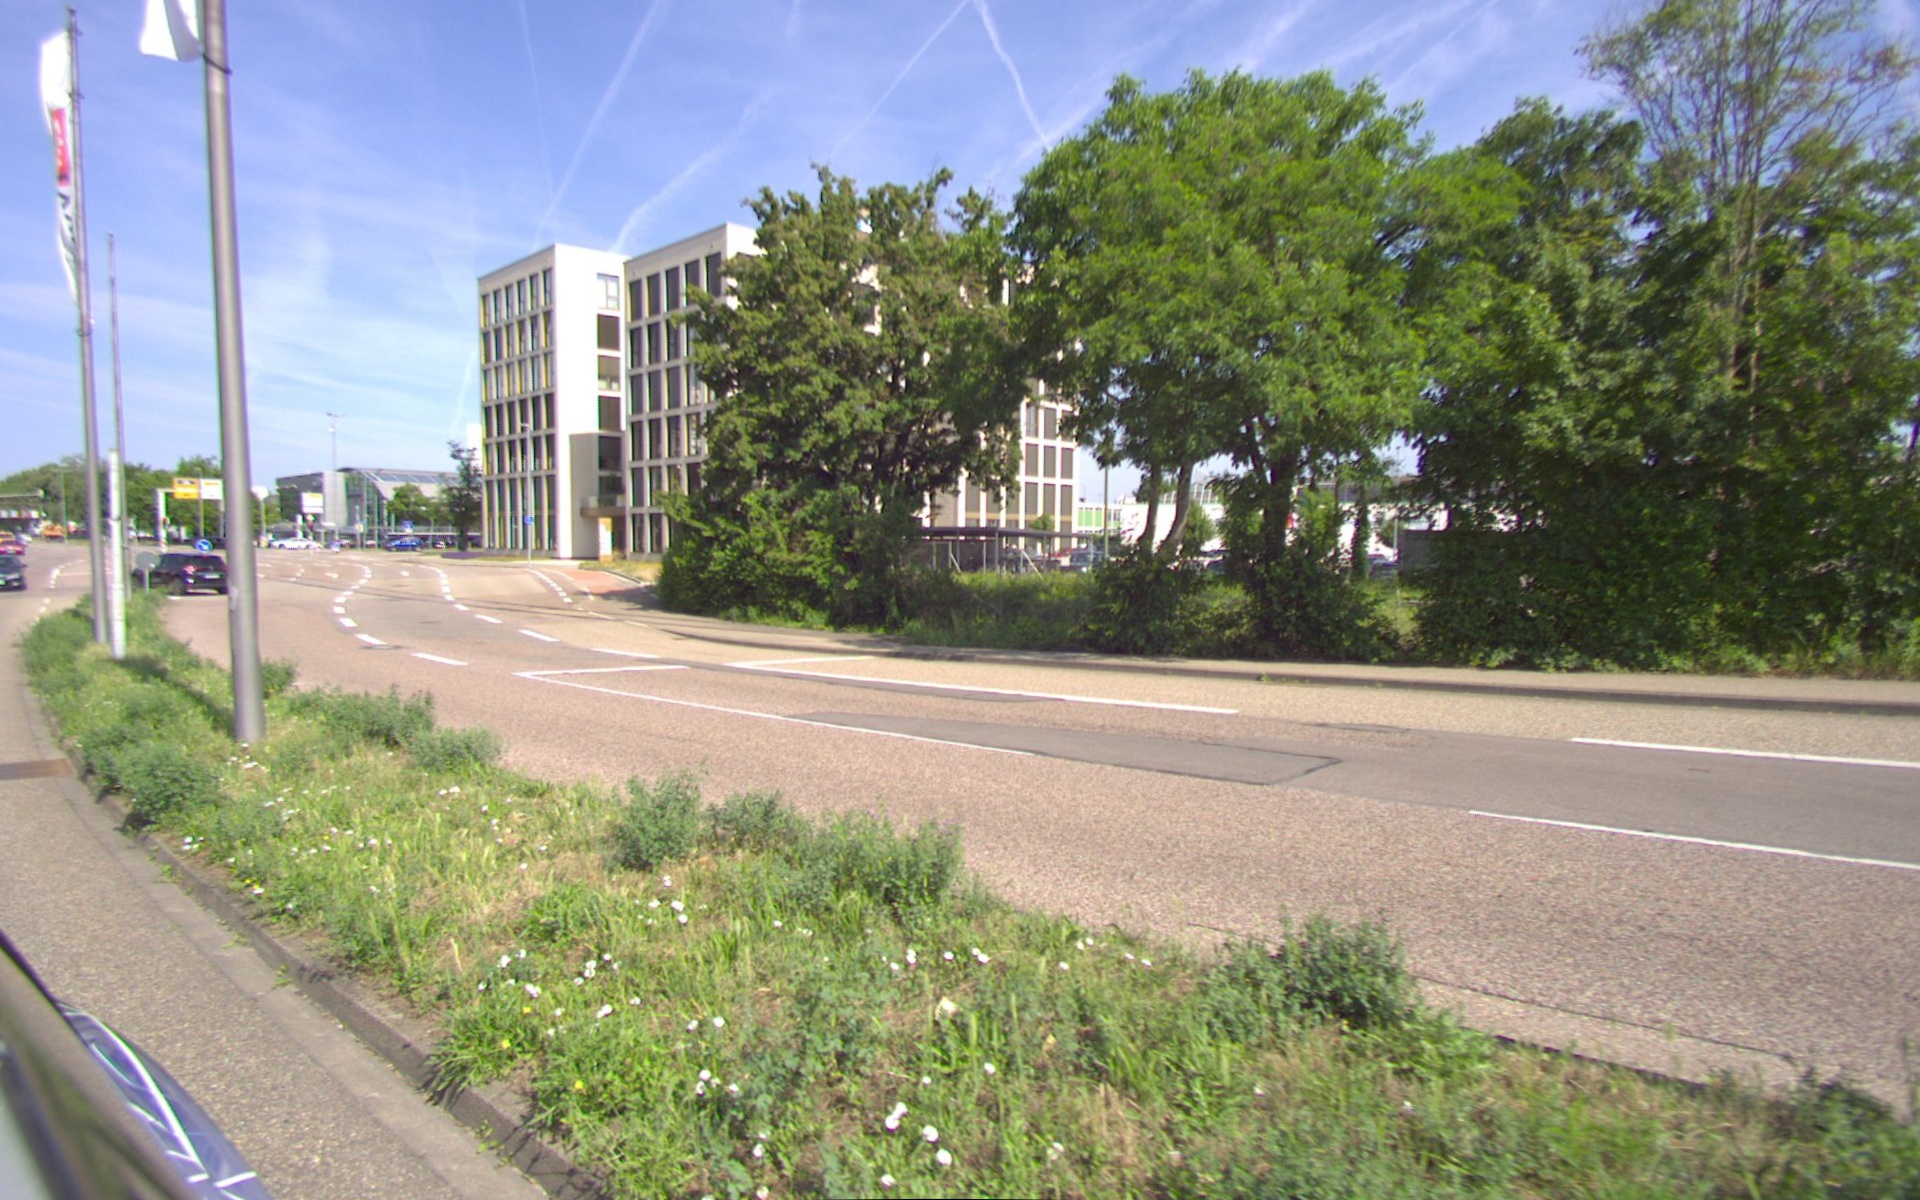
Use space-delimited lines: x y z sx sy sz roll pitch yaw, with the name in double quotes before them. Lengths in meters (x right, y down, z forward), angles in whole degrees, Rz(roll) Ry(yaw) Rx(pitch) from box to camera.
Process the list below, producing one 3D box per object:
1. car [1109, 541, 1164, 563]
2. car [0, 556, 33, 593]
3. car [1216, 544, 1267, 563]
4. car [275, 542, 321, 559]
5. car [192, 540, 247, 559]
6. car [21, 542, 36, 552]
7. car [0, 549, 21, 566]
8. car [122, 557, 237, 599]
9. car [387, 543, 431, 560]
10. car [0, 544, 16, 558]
"car" 13.468 -3.670 77.244 3.771 1.572 1.760 3 3 43
"car" -39.770 -1.067 41.766 1.821 1.429 4.009 0 3 -37
"car" 24.321 -3.994 87.501 3.771 1.572 1.760 3 3 43
"car" -75.569 -5.674 115.646 4.321 1.861 1.818 -1 3 -31
"car" -77.110 -5.241 105.488 4.320 1.861 1.818 0 3 -26
"car" -164.027 -9.363 178.265 1.840 1.638 4.005 -2 3 -42
"car" -82.376 -3.688 87.381 1.800 1.485 4.004 -2 4 -44
"car" -30.615 -0.893 39.686 4.119 1.540 1.848 2 2 24
"car" -64.782 -5.688 119.076 4.326 1.861 1.815 -1 3 -39
"car" -102.588 -5.283 108.643 1.800 1.485 4.004 -2 4 -44
